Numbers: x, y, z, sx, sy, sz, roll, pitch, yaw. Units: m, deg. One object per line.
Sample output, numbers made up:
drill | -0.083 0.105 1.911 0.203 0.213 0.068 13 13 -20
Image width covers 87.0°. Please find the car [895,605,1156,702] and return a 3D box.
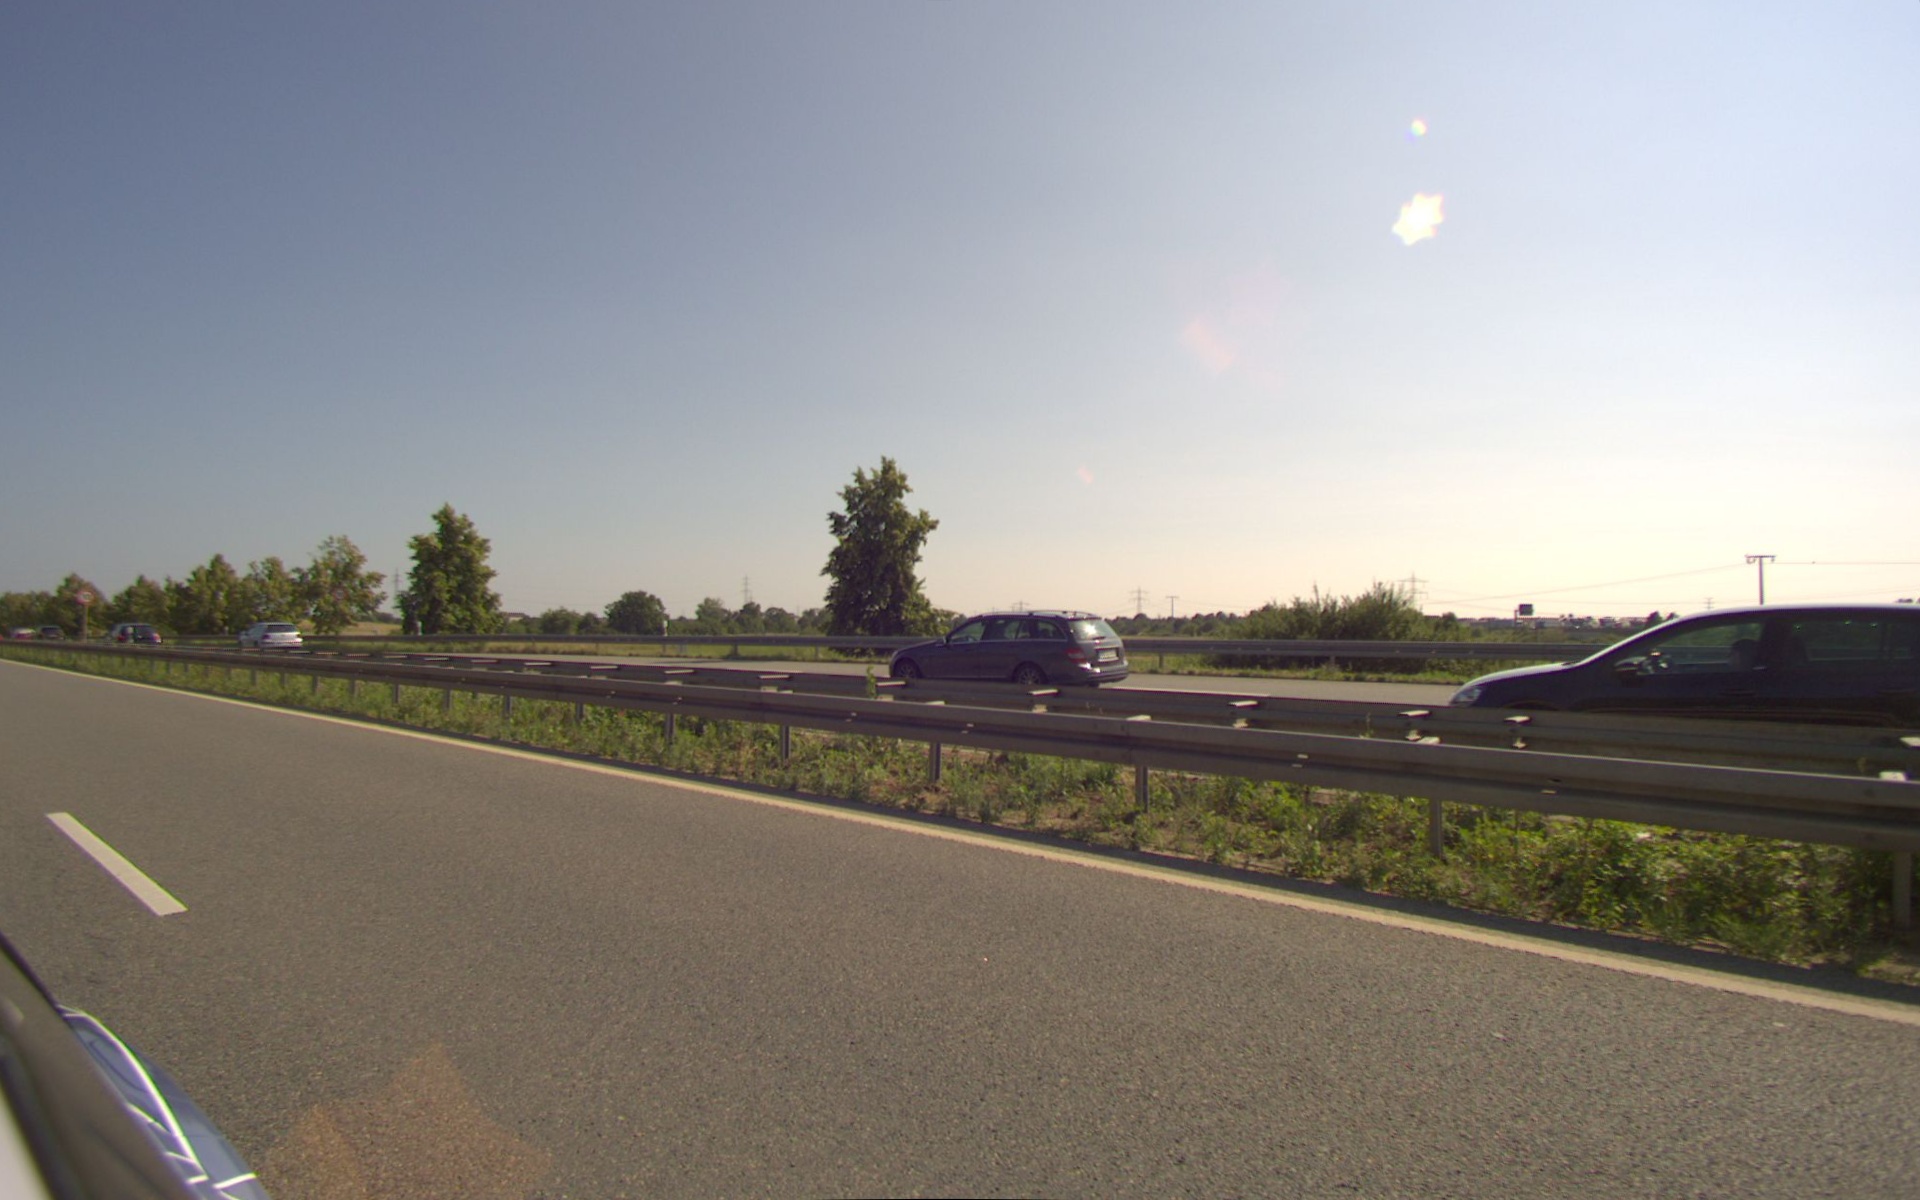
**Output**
car | 1.028 0.853 17.353 4.320 1.461 1.695 -2 -1 40

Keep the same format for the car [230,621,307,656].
car | -31.129 1.707 45.533 4.414 1.406 1.802 -1 1 42

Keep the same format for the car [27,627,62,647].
car | -78.101 3.115 86.314 4.219 1.607 1.708 -2 -1 42

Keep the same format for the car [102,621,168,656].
car | -38.714 1.769 47.456 4.414 1.481 1.695 -1 1 42

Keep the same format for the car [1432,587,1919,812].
car | 6.340 0.684 8.064 4.321 1.484 1.796 -2 0 41

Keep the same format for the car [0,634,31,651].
car | -94.791 4.211 101.572 4.772 1.605 1.824 -2 0 42
